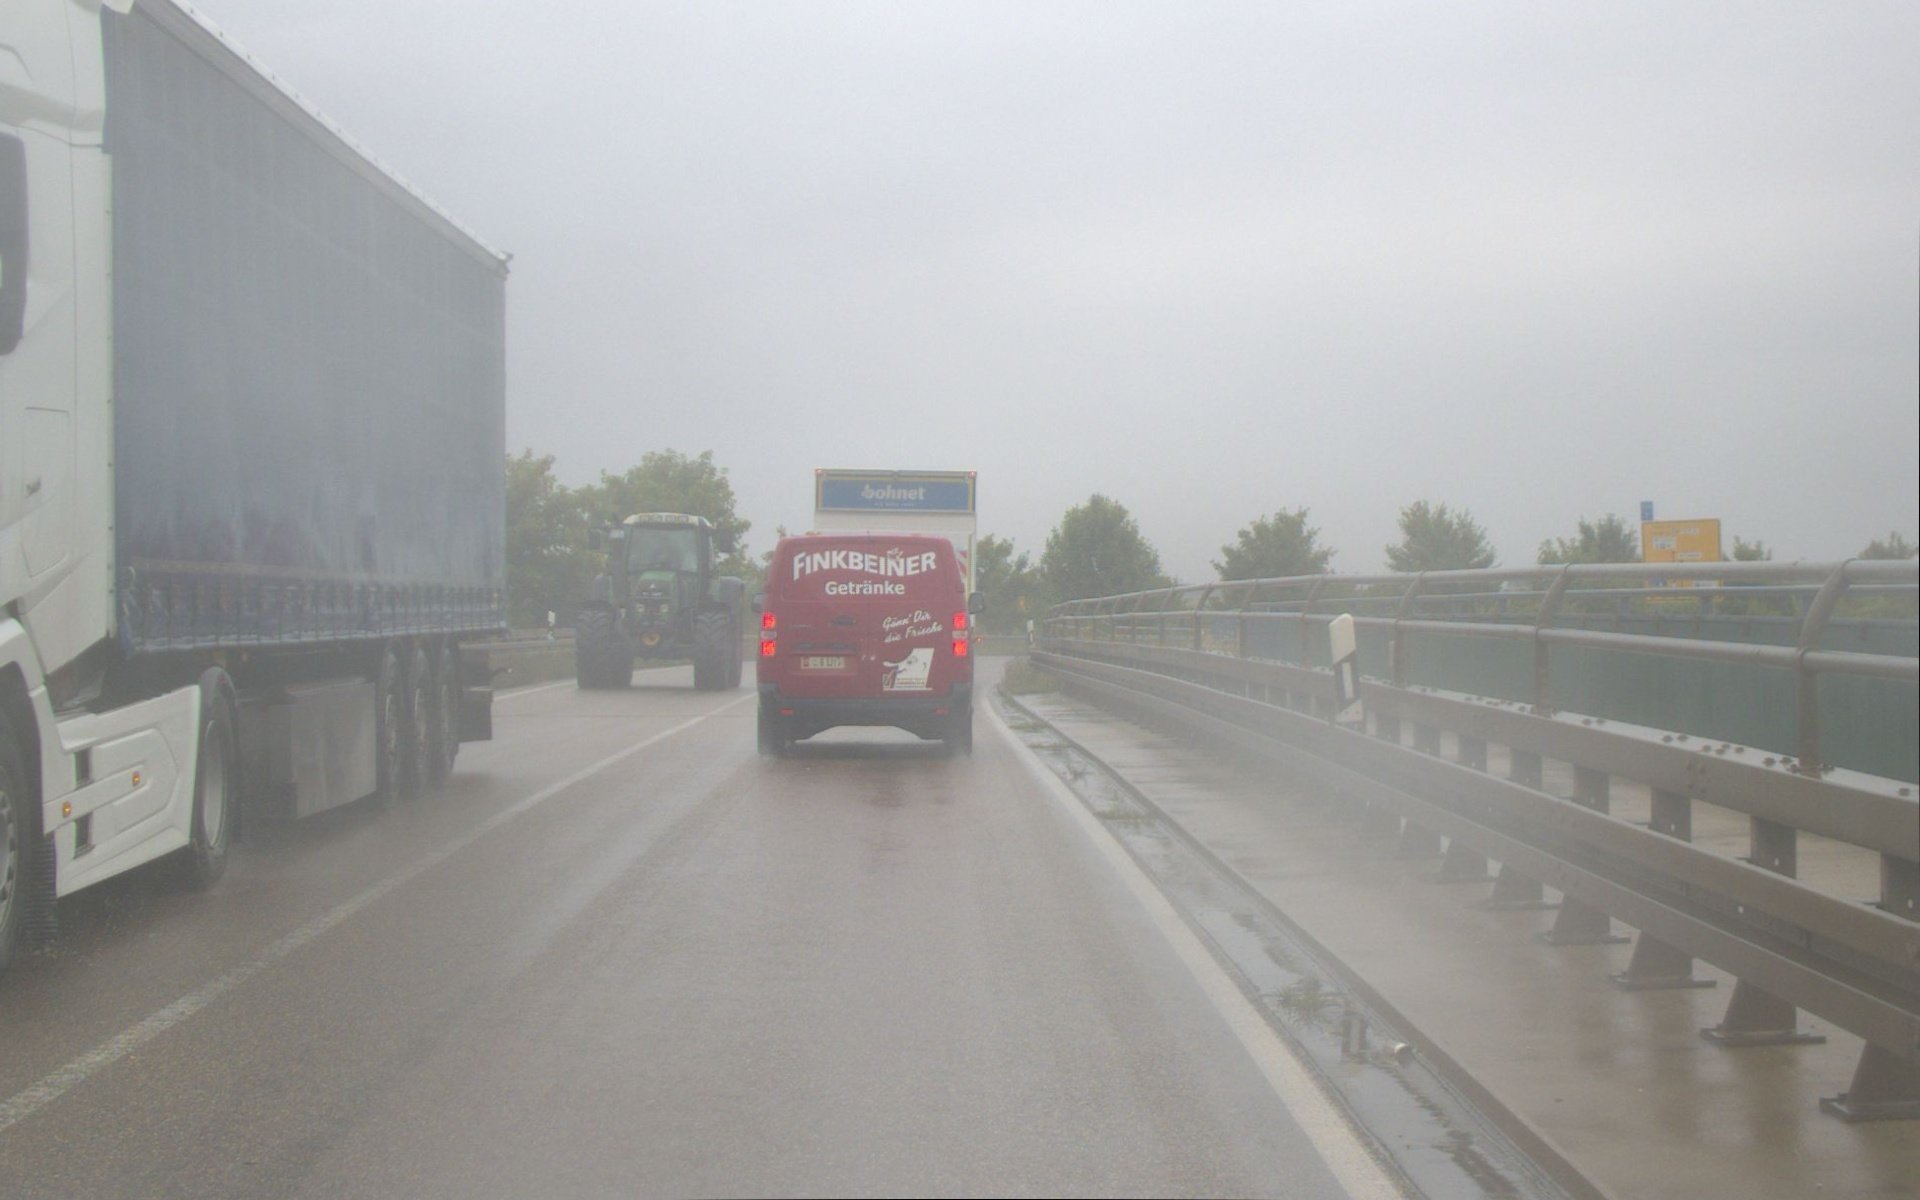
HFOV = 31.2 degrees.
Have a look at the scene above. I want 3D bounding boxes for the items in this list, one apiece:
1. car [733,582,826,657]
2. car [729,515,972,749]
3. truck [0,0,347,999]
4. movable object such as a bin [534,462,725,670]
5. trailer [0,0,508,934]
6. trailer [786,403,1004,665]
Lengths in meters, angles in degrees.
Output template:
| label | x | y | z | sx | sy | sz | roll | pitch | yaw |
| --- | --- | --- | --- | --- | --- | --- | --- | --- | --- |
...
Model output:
| label | x | y | z | sx | sy | sz | roll | pitch | yaw |
| --- | --- | --- | --- | --- | --- | --- | --- | --- | --- |
| car | -4.546 | 0.476 | 87.302 | 2.066 | 1.831 | 4.931 | -1 | 0 | 0 |
| car | -0.969 | 0.224 | 30.659 | 1.993 | 1.919 | 4.144 | 1 | 1 | -2 |
| truck | -4.658 | -0.695 | 14.475 | 2.817 | 3.956 | 8.764 | 0 | 1 | -2 |
| movable object such as a bin | -5.653 | -0.573 | 59.466 | 2.748 | 3.433 | 4.643 | -1 | 0 | 1 |
| trailer | -4.781 | -0.745 | 20.200 | 2.817 | 3.956 | 13.737 | 0 | 1 | -2 |
| trailer | -1.062 | -1.025 | 57.640 | 3.201 | 3.908 | 8.740 | 3 | 0 | -1 |
